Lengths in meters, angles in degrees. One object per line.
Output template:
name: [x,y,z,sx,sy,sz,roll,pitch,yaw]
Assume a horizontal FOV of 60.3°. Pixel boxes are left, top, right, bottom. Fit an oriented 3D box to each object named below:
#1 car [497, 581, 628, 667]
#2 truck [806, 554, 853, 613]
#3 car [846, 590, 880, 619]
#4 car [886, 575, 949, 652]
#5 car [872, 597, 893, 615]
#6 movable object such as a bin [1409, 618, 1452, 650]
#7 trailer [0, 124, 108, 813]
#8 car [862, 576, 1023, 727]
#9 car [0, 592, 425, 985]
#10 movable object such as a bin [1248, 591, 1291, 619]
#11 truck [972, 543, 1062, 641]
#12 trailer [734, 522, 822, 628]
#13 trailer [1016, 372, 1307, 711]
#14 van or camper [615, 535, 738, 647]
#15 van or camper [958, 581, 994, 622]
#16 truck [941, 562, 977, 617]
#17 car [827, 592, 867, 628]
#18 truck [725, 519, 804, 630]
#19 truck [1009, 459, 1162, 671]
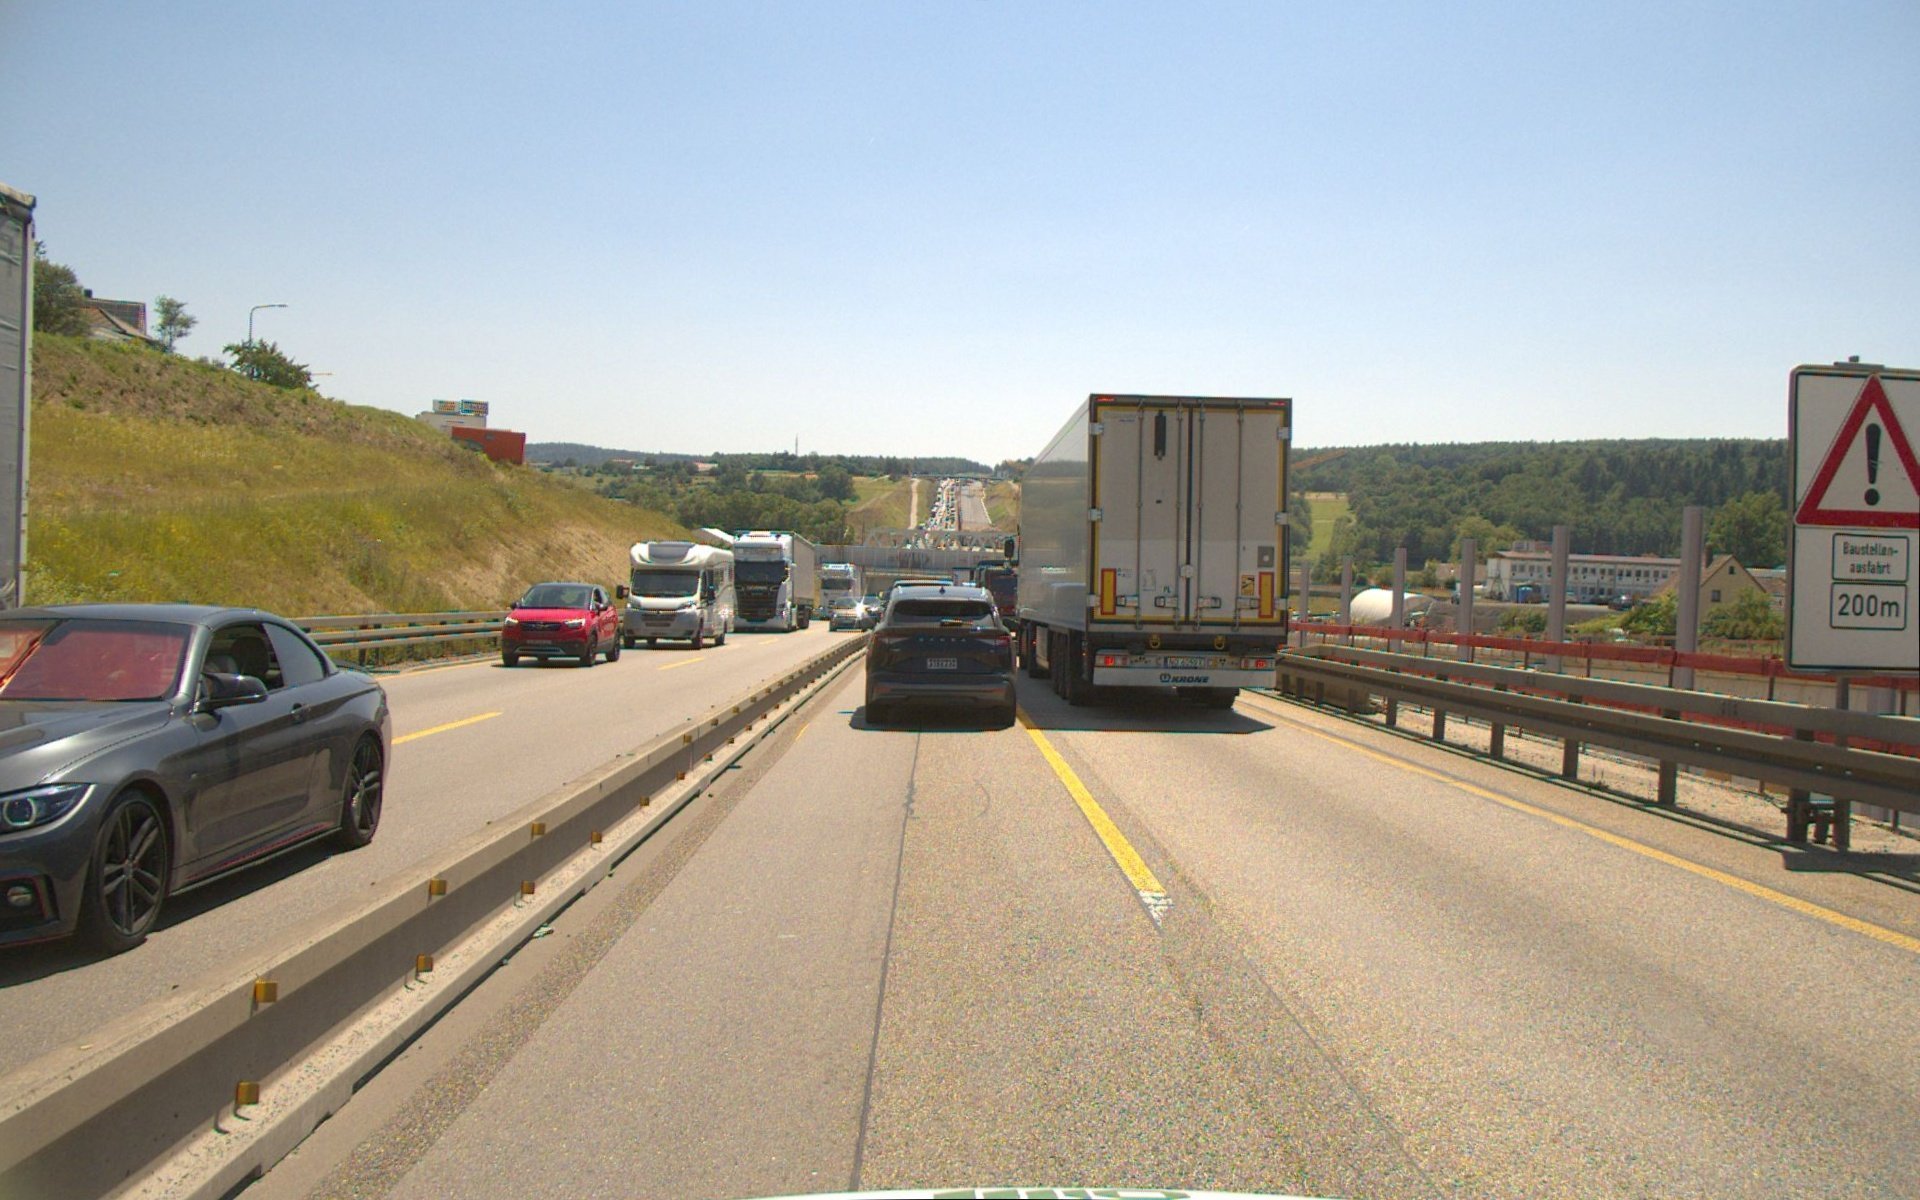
car: [-7.854,0.435,33.039,1.682,1.579,4.263,1,0,-2]
truck: [-9.657,-1.219,122.900,3.173,4.233,4.246,1,0,-2]
car: [-5.628,0.271,96.733,1.811,1.614,4.173,1,0,-2]
car: [-1.024,0.318,40.969,1.444,1.826,3.297,0,0,0]
car: [-7.543,0.603,161.064,1.775,1.666,4.362,1,0,0]
movable object such as a bin: [34.411,2.463,121.059,1.953,2.278,4.151,1,0,0]
trailer: [-7.141,-0.779,4.598,2.799,4.196,13.434,1,0,-1]
car: [-0.189,0.572,20.197,1.763,1.648,3.297,1,0,0]
car: [-4.178,0.670,8.128,1.732,1.386,4.410,1,0,-1]
movable object such as a bin: [33.997,0.529,181.853,2.829,2.960,9.478,1,0,0]
truck: [1.908,-0.209,60.696,2.756,3.190,12.835,1,0,0]
trailer: [-8.173,-1.056,75.808,2.754,4.361,14.030,1,0,-1]
trailer: [2.716,-0.657,27.378,2.745,4.129,14.112,1,-1,-1]
van or camper: [-7.749,-0.249,46.037,2.287,2.826,7.515,1,0,-1]
van or camper: [0.916,0.081,97.242,1.953,2.283,4.000,2,0,-1]
truck: [-0.106,-0.790,128.263,2.467,4.028,7.597,2,0,-2]
car: [-4.966,0.440,72.847,1.596,1.505,3.379,1,0,-2]
truck: [-7.973,-1.019,67.965,2.718,4.361,4.675,1,0,-2]
truck: [2.541,-0.665,34.942,2.720,4.129,4.903,1,-1,-2]
